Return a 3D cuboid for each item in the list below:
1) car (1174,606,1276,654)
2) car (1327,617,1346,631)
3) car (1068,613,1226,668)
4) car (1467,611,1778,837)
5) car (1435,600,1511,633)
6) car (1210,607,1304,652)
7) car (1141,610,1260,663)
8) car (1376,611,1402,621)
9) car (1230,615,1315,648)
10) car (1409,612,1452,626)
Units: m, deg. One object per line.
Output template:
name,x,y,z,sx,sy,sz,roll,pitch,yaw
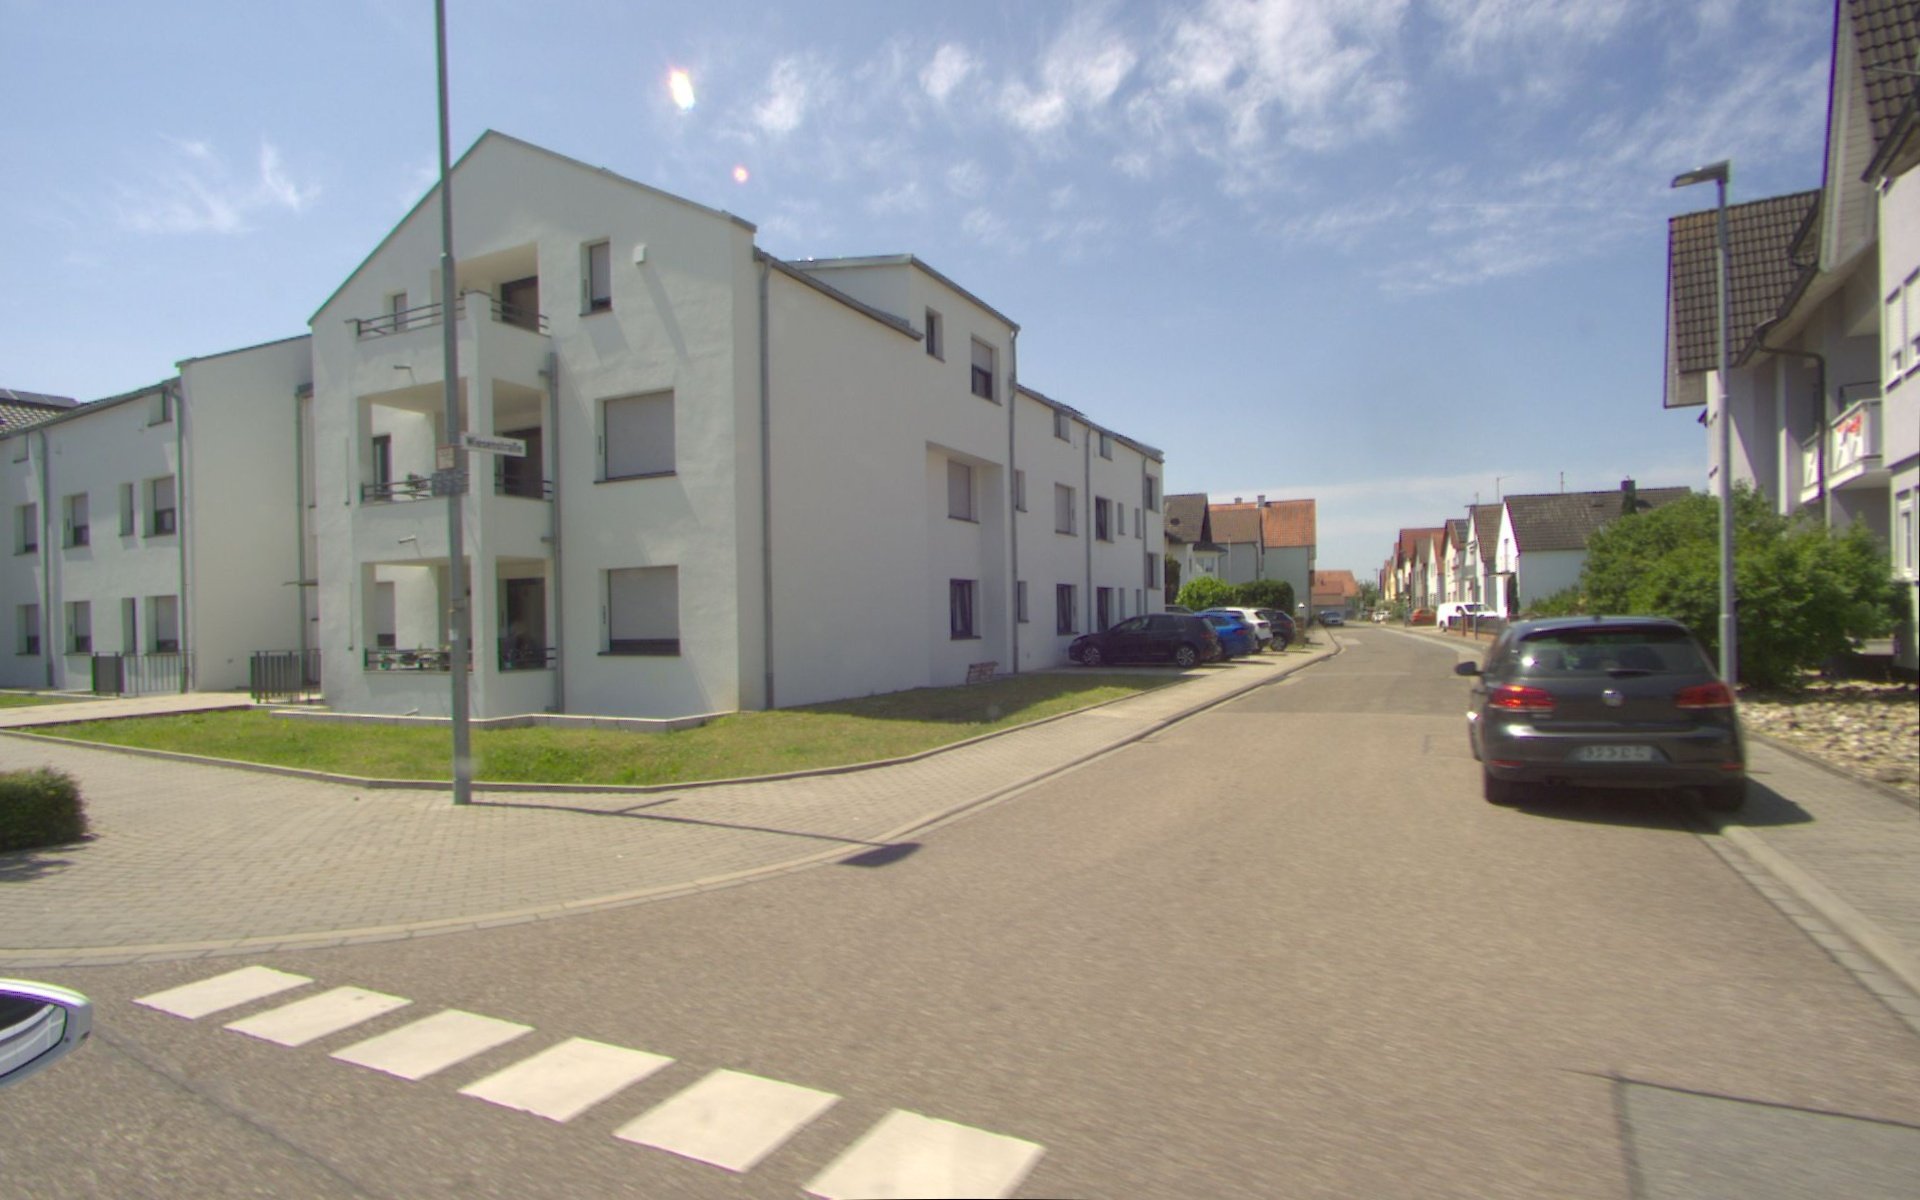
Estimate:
car,9.046,1.026,34.193,3.165,1.597,1.458,-1,-1,25
car,38.511,2.466,102.472,1.738,1.360,3.972,-1,-2,20
car,5.138,1.102,27.597,3.943,1.431,1.750,-1,-1,27
car,5.487,0.858,8.804,1.728,1.486,3.991,-1,-1,26
car,31.062,1.018,60.791,1.962,1.901,4.456,-1,-1,-7
car,10.987,1.099,37.045,3.165,1.597,1.458,-1,-1,25
car,7.040,1.067,29.325,3.165,1.459,1.458,-1,-1,25
car,53.388,1.989,124.608,3.041,1.181,1.296,-1,-1,25
car,12.834,1.308,41.116,3.165,1.297,1.458,-1,-1,25
car,40.996,1.639,87.238,3.342,1.181,1.296,-2,-1,25
